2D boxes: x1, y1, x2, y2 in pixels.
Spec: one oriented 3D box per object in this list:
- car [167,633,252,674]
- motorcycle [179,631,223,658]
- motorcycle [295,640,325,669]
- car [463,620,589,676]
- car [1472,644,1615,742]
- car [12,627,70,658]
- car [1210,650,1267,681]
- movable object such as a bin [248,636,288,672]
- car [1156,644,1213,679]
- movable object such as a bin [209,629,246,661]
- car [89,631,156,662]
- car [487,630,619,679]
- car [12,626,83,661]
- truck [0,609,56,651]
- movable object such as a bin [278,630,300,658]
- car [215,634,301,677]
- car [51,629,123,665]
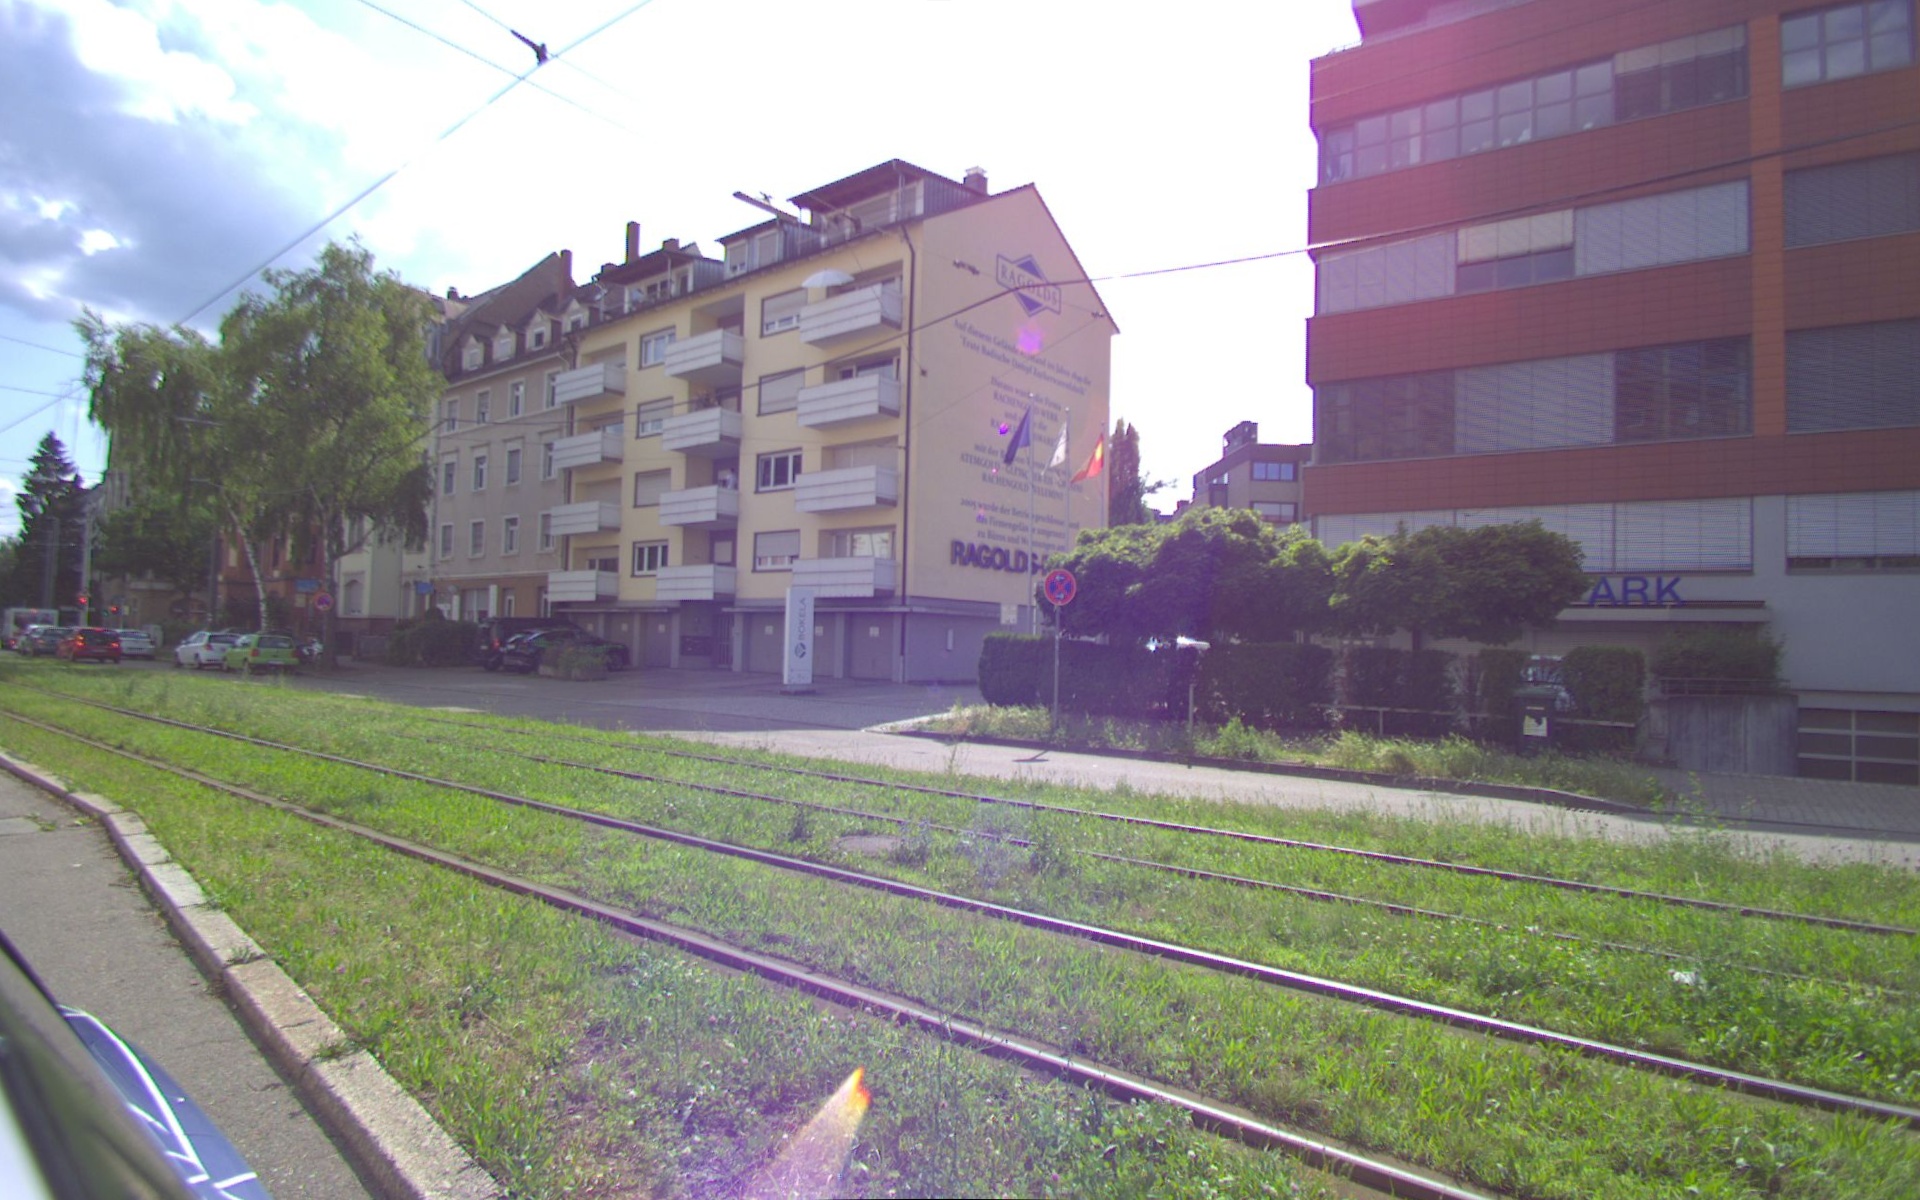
[{"bbox_3d":[-29.540,2.086,39.807,4.221,1.489,1.628,-1,-5,39],"label":"car"},{"bbox_3d":[-36.173,2.121,48.244,2.288,1.252,0.893,-1,-3,33],"label":"motorcycle"},{"bbox_3d":[-25.431,2.133,39.581,1.630,1.050,0.494,0,1,38],"label":"motorcycle"},{"bbox_3d":[-16.376,1.766,38.330,1.936,2.029,3.944,-1,-2,42],"label":"car"},{"bbox_3d":[11.192,1.693,19.287,1.996,1.608,3.952,-1,-3,35],"label":"car"},{"bbox_3d":[-45.990,2.109,50.616,4.134,1.425,1.736,-1,-5,43],"label":"car"},{"bbox_3d":[16.234,3.785,59.171,1.743,1.708,4.007,2,-3,-8],"label":"car"},{"bbox_3d":[-28.964,2.235,42.351,1.519,1.441,0.942,-1,-1,38],"label":"movable object such as a bin"},{"bbox_3d":[12.444,3.409,56.287,1.743,1.827,4.007,2,-3,-8],"label":"car"},{"bbox_3d":[-33.807,2.072,46.714,1.519,1.377,0.942,-1,1,38],"label":"movable object such as a bin"},{"bbox_3d":[-39.863,2.189,48.143,3.992,1.366,1.737,-1,-4,40],"label":"car"},{"bbox_3d":[-14.570,1.902,36.346,1.970,1.614,3.948,-1,-2,39],"label":"car"},{"bbox_3d":[-41.515,1.963,46.025,4.509,1.366,1.737,-1,-5,41],"label":"car"},{"bbox_3d":[-53.099,1.710,57.318,6.612,2.231,2.161,-1,-5,43],"label":"truck"},{"bbox_3d":[-33.326,2.203,50.252,0.698,1.372,0.667,-1,-4,35],"label":"movable object such as a bin"},{"bbox_3d":[-25.477,2.013,36.683,3.611,1.443,1.578,-1,-4,40],"label":"car"},{"bbox_3d":[-36.002,1.929,41.709,3.689,1.397,1.563,-1,-4,39],"label":"car"}]
